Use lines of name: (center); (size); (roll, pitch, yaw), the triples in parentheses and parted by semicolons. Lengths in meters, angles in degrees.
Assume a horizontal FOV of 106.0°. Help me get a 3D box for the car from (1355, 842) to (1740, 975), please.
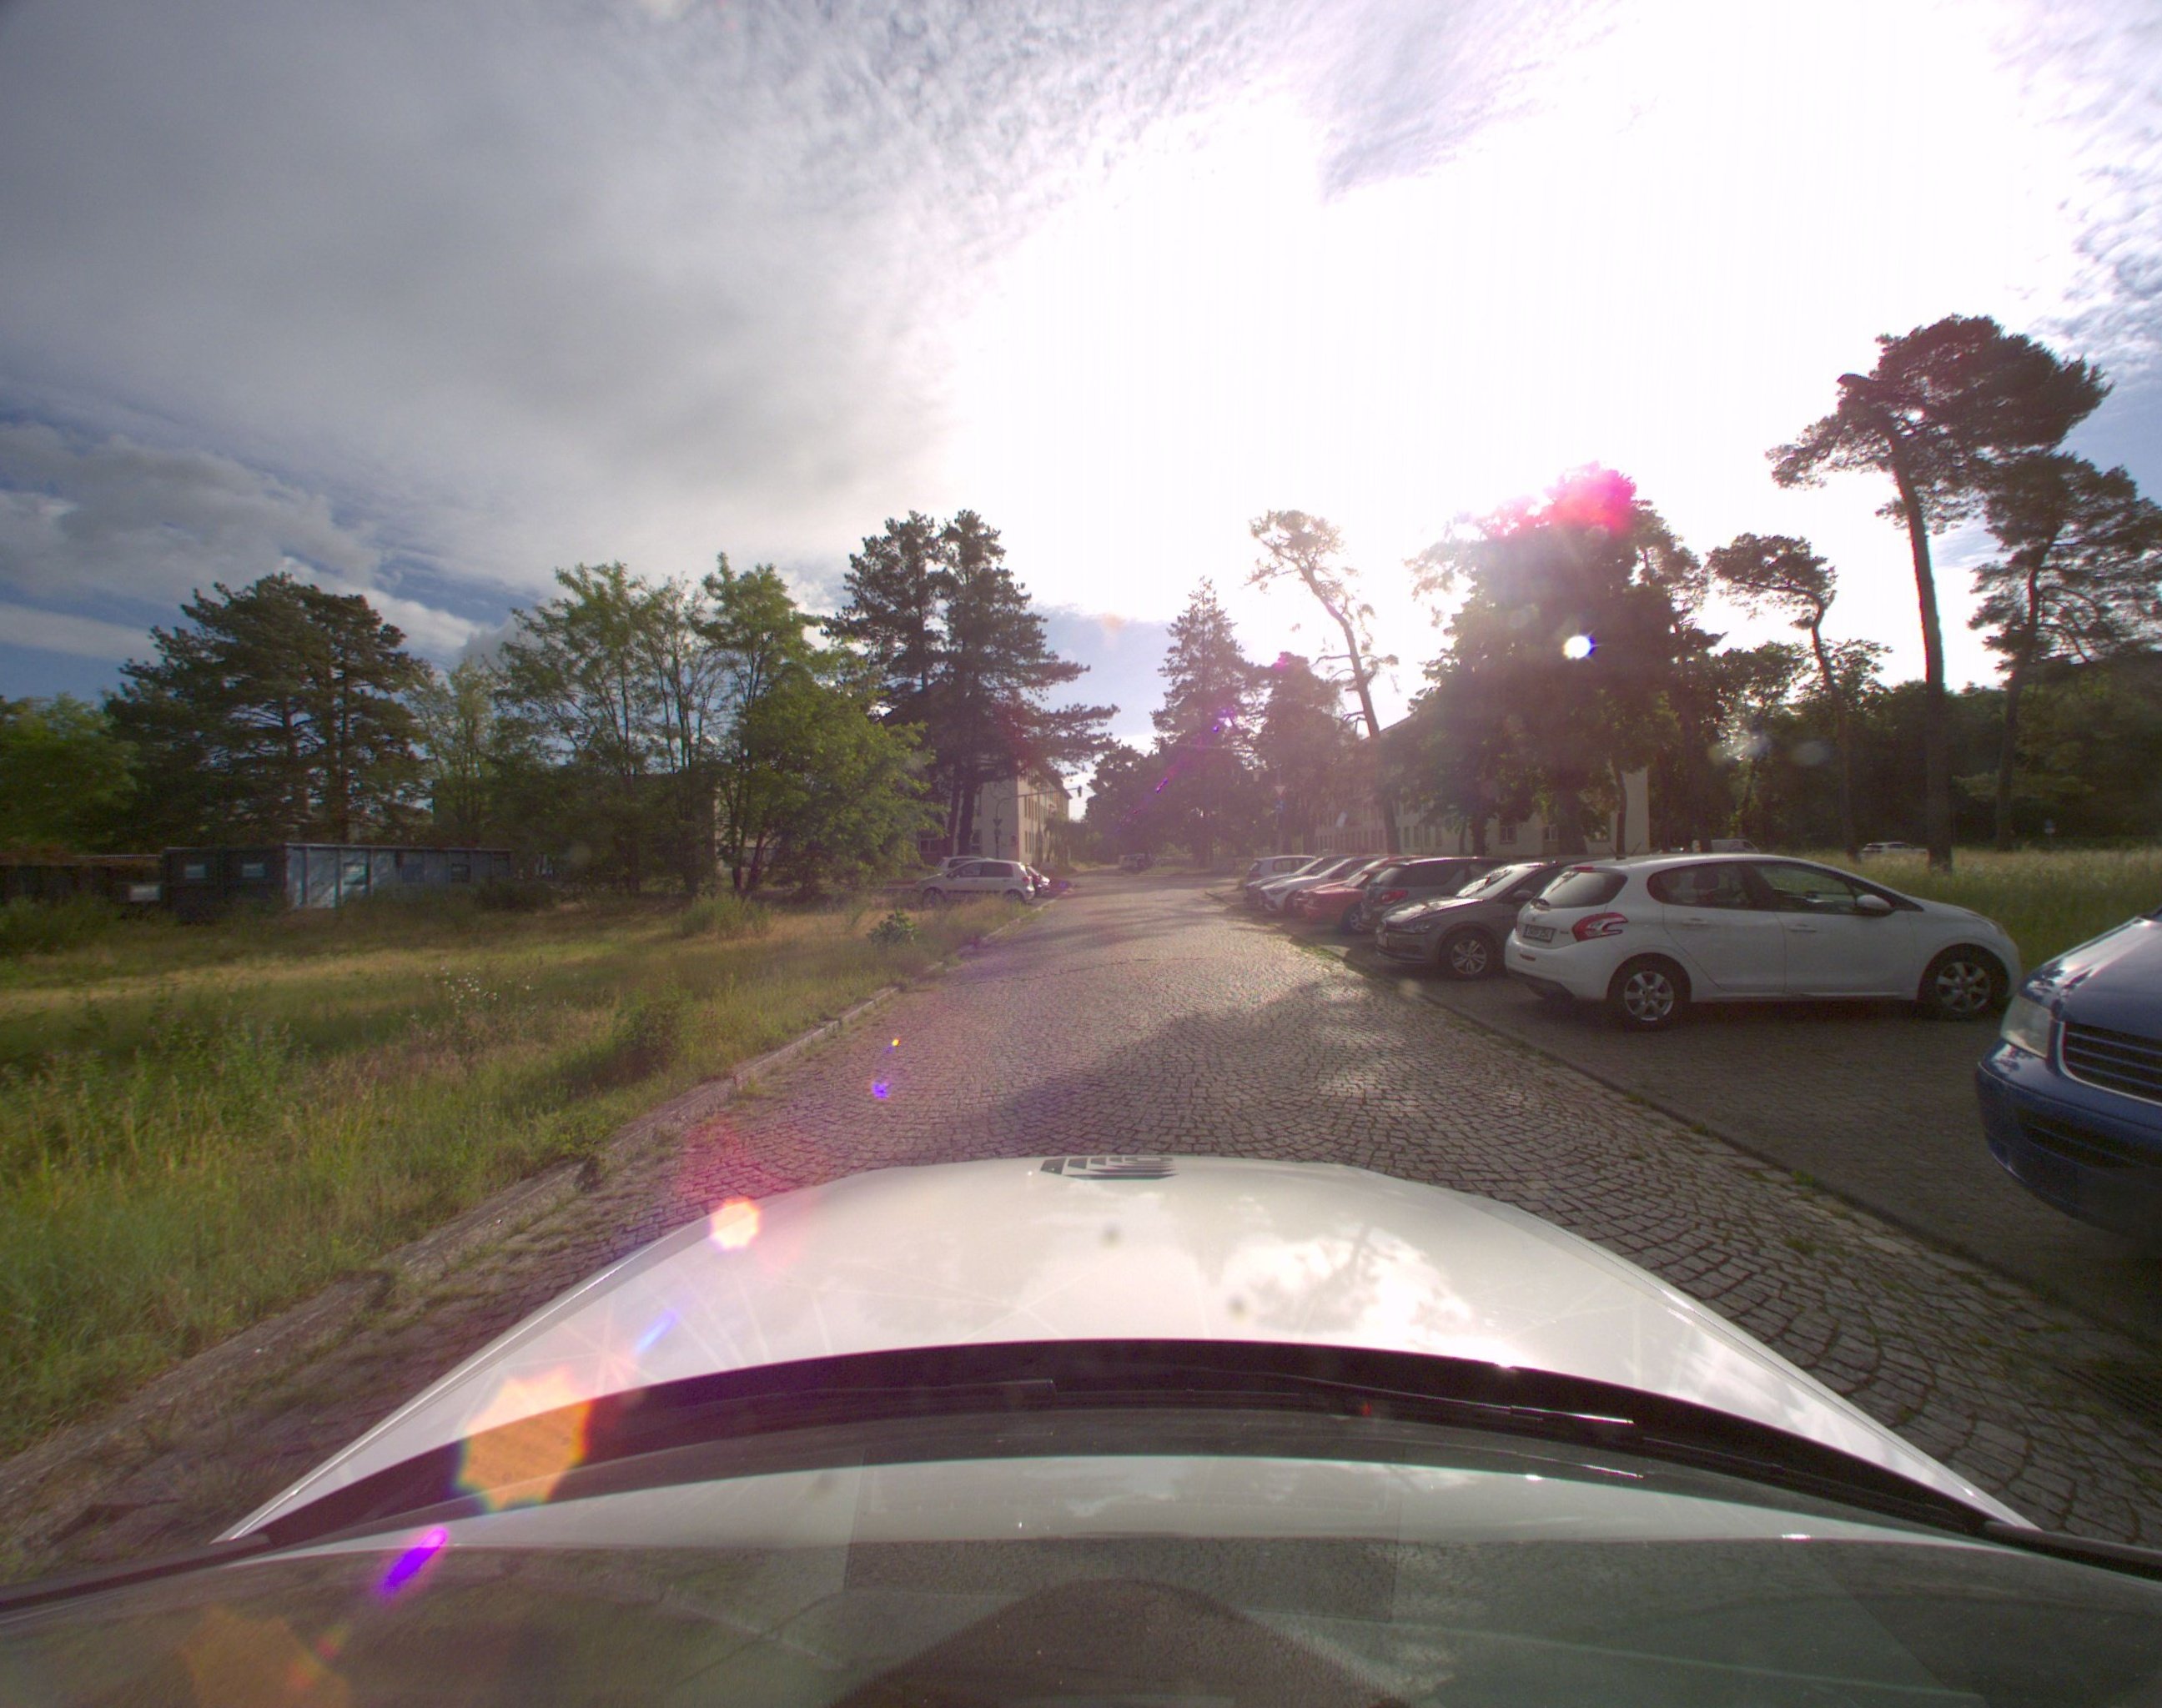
car: (5.854, 0.667, 10.628); (3.934, 1.467, 1.832); (-2, -1, 3)

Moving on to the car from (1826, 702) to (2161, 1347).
car: (5.557, 0.392, 2.421); (4.715, 1.928, 1.993); (-3, -1, 2)

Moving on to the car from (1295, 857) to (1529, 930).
car: (6.443, 0.757, 16.174); (3.934, 1.261, 1.728); (-2, -1, 3)

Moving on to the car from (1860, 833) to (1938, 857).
car: (61.314, -0.657, 61.069); (3.918, 1.679, 1.856); (-1, -1, 0)

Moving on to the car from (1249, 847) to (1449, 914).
car: (6.735, 0.660, 20.819); (4.489, 1.473, 1.850); (-2, -1, 2)

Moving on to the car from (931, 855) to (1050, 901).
car: (-3.087, 0.825, 28.394); (3.814, 1.429, 1.859); (2, -1, 2)

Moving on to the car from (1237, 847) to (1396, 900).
car: (7.473, 0.613, 26.202); (4.528, 1.505, 1.933); (-2, -1, 1)

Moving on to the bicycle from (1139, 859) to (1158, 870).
bicycle: (6.425, 1.018, 77.403); (1.786, 0.999, 0.644); (-2, 0, 1)

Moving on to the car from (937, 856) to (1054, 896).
car: (-3.455, 0.872, 33.652); (4.572, 1.455, 1.903); (2, 1, 0)

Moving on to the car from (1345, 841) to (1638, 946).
car: (6.642, 0.633, 13.525); (3.934, 1.495, 1.773); (-2, -1, 3)

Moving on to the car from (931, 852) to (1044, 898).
car: (-3.497, 0.790, 31.108); (4.110, 1.600, 1.857); (2, -1, -2)

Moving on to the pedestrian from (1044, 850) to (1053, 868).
pedestrian: (-3.595, 0.512, 90.180); (0.981, 1.963, 0.933); (-1, -1, 2)

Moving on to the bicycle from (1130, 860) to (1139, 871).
bicycle: (4.876, 1.035, 73.869); (0.725, 0.999, 1.800); (-2, 1, 3)

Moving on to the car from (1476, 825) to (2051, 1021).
car: (6.146, 0.604, 7.756); (3.858, 1.530, 1.809); (-2, -1, 3)

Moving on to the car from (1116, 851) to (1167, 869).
car: (6.928, 0.720, 93.346); (5.503, 1.916, 2.245); (-1, -1, -11)

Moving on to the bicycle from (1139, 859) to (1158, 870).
bicycle: (6.476, 1.033, 78.422); (1.786, 0.999, 0.644); (-2, 0, 1)

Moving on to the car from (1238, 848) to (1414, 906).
car: (6.988, 0.652, 23.592); (4.494, 1.473, 1.894); (-2, -1, -2)

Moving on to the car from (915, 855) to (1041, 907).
car: (-3.188, 0.830, 25.738); (3.670, 1.473, 1.850); (2, -1, 1)

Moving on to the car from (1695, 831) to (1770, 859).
car: (61.658, -0.858, 77.190); (5.135, 2.536, 2.266); (-1, -1, 4)

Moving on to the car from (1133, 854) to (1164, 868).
car: (7.413, 0.789, 89.754); (3.032, 1.465, 1.714); (-1, -2, -10)

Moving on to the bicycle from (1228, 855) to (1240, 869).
bicycle: (11.833, 0.626, 62.996); (0.560, 0.999, 1.751); (-2, 1, -1)

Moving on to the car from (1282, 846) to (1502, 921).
car: (6.955, 0.651, 18.536); (4.324, 1.473, 1.741); (-2, -1, 2)
